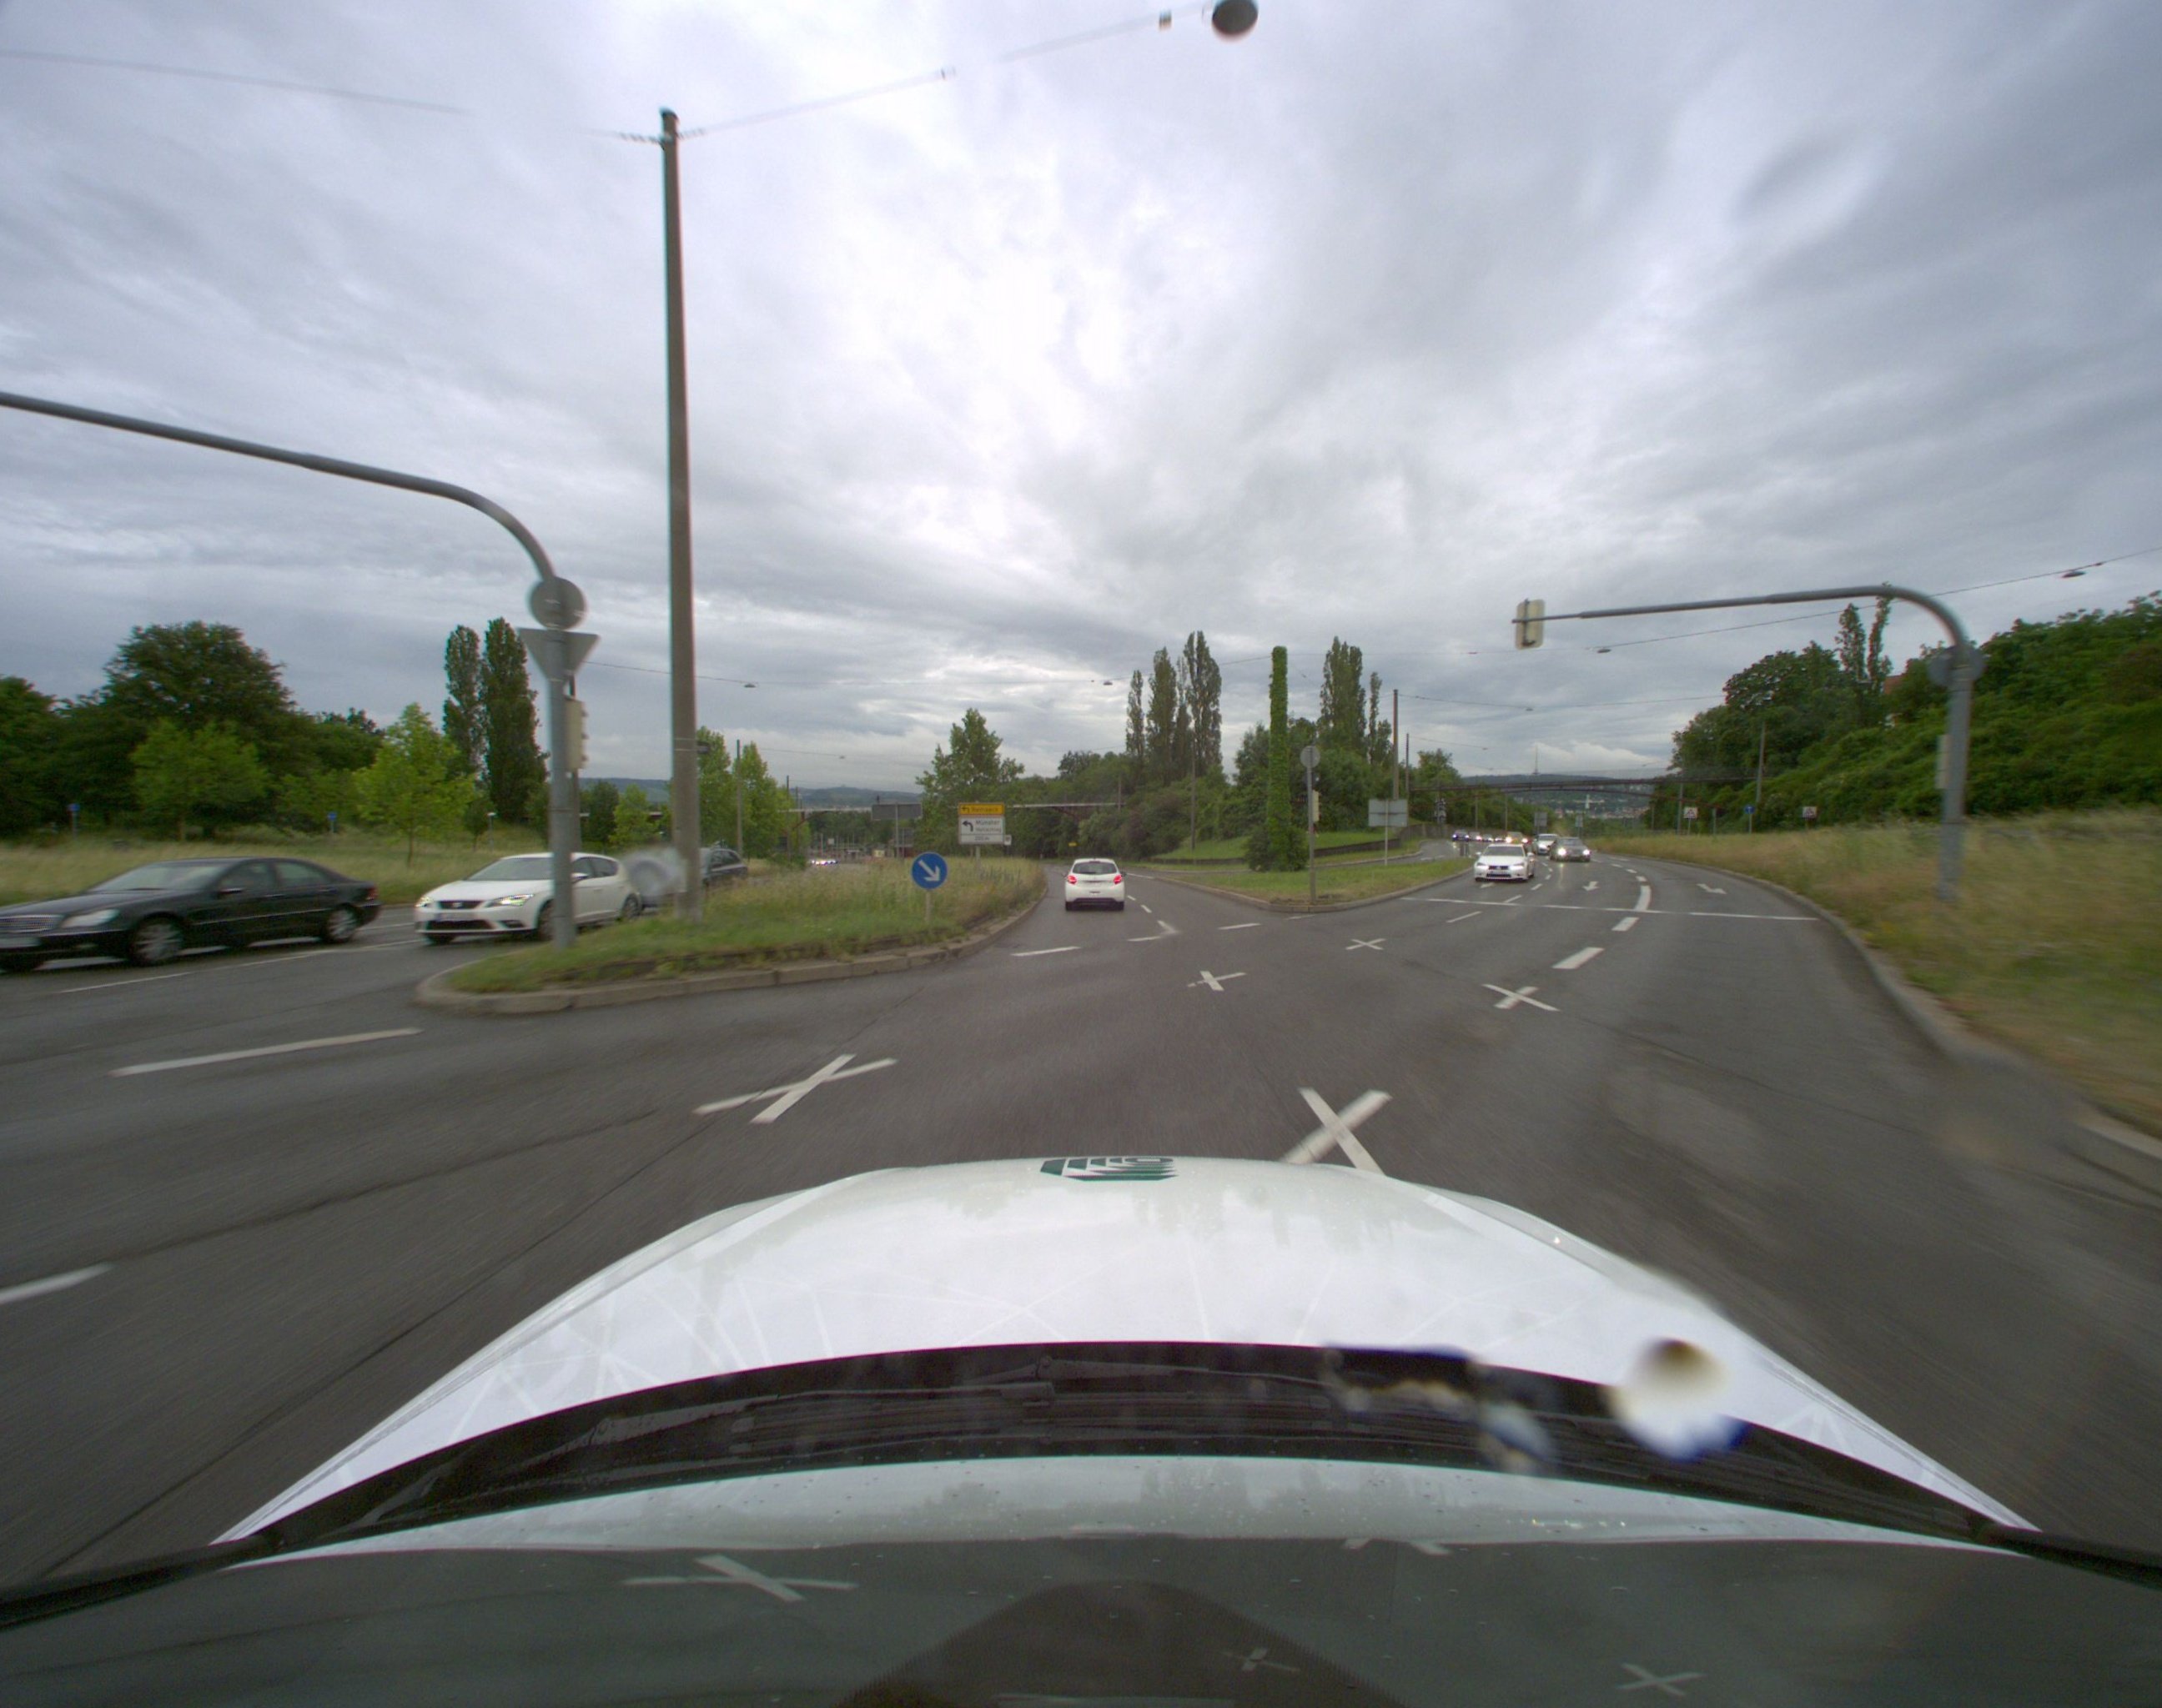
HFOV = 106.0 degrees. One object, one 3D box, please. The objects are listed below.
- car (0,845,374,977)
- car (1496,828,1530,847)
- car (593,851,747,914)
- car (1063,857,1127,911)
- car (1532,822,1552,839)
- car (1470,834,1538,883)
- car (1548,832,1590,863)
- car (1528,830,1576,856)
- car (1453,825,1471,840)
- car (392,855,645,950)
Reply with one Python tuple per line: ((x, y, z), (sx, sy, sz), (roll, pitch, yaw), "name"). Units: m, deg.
((-12.568, 0.700, 11.446), (1.891, 1.537, 3.994), (0, -1, -4), "car")
((40.140, -1.578, 75.771), (1.978, 1.617, 4.393), (1, 3, 17), "car")
((-10.185, 0.650, 20.556), (1.890, 1.324, 3.999), (0, 2, -1), "car")
((0.425, 0.854, 24.217), (1.702, 1.440, 3.691), (-2, -1, 1), "car")
((62.601, -3.195, 110.612), (2.055, 2.083, 4.398), (2, 4, 25), "car")
((16.697, 0.112, 32.066), (1.974, 1.617, 4.026), (2, 4, 33), "car")
((29.141, -0.422, 48.557), (1.974, 1.617, 4.401), (2, 4, 33), "car")
((33.026, -0.823, 57.267), (1.978, 1.617, 4.393), (1, 3, 17), "car")
((45.672, -2.609, 97.675), (1.861, 1.653, 4.150), (2, 4, 25), "car")
((-9.296, 0.736, 13.928), (1.734, 1.373, 3.994), (0, -1, -4), "car")
